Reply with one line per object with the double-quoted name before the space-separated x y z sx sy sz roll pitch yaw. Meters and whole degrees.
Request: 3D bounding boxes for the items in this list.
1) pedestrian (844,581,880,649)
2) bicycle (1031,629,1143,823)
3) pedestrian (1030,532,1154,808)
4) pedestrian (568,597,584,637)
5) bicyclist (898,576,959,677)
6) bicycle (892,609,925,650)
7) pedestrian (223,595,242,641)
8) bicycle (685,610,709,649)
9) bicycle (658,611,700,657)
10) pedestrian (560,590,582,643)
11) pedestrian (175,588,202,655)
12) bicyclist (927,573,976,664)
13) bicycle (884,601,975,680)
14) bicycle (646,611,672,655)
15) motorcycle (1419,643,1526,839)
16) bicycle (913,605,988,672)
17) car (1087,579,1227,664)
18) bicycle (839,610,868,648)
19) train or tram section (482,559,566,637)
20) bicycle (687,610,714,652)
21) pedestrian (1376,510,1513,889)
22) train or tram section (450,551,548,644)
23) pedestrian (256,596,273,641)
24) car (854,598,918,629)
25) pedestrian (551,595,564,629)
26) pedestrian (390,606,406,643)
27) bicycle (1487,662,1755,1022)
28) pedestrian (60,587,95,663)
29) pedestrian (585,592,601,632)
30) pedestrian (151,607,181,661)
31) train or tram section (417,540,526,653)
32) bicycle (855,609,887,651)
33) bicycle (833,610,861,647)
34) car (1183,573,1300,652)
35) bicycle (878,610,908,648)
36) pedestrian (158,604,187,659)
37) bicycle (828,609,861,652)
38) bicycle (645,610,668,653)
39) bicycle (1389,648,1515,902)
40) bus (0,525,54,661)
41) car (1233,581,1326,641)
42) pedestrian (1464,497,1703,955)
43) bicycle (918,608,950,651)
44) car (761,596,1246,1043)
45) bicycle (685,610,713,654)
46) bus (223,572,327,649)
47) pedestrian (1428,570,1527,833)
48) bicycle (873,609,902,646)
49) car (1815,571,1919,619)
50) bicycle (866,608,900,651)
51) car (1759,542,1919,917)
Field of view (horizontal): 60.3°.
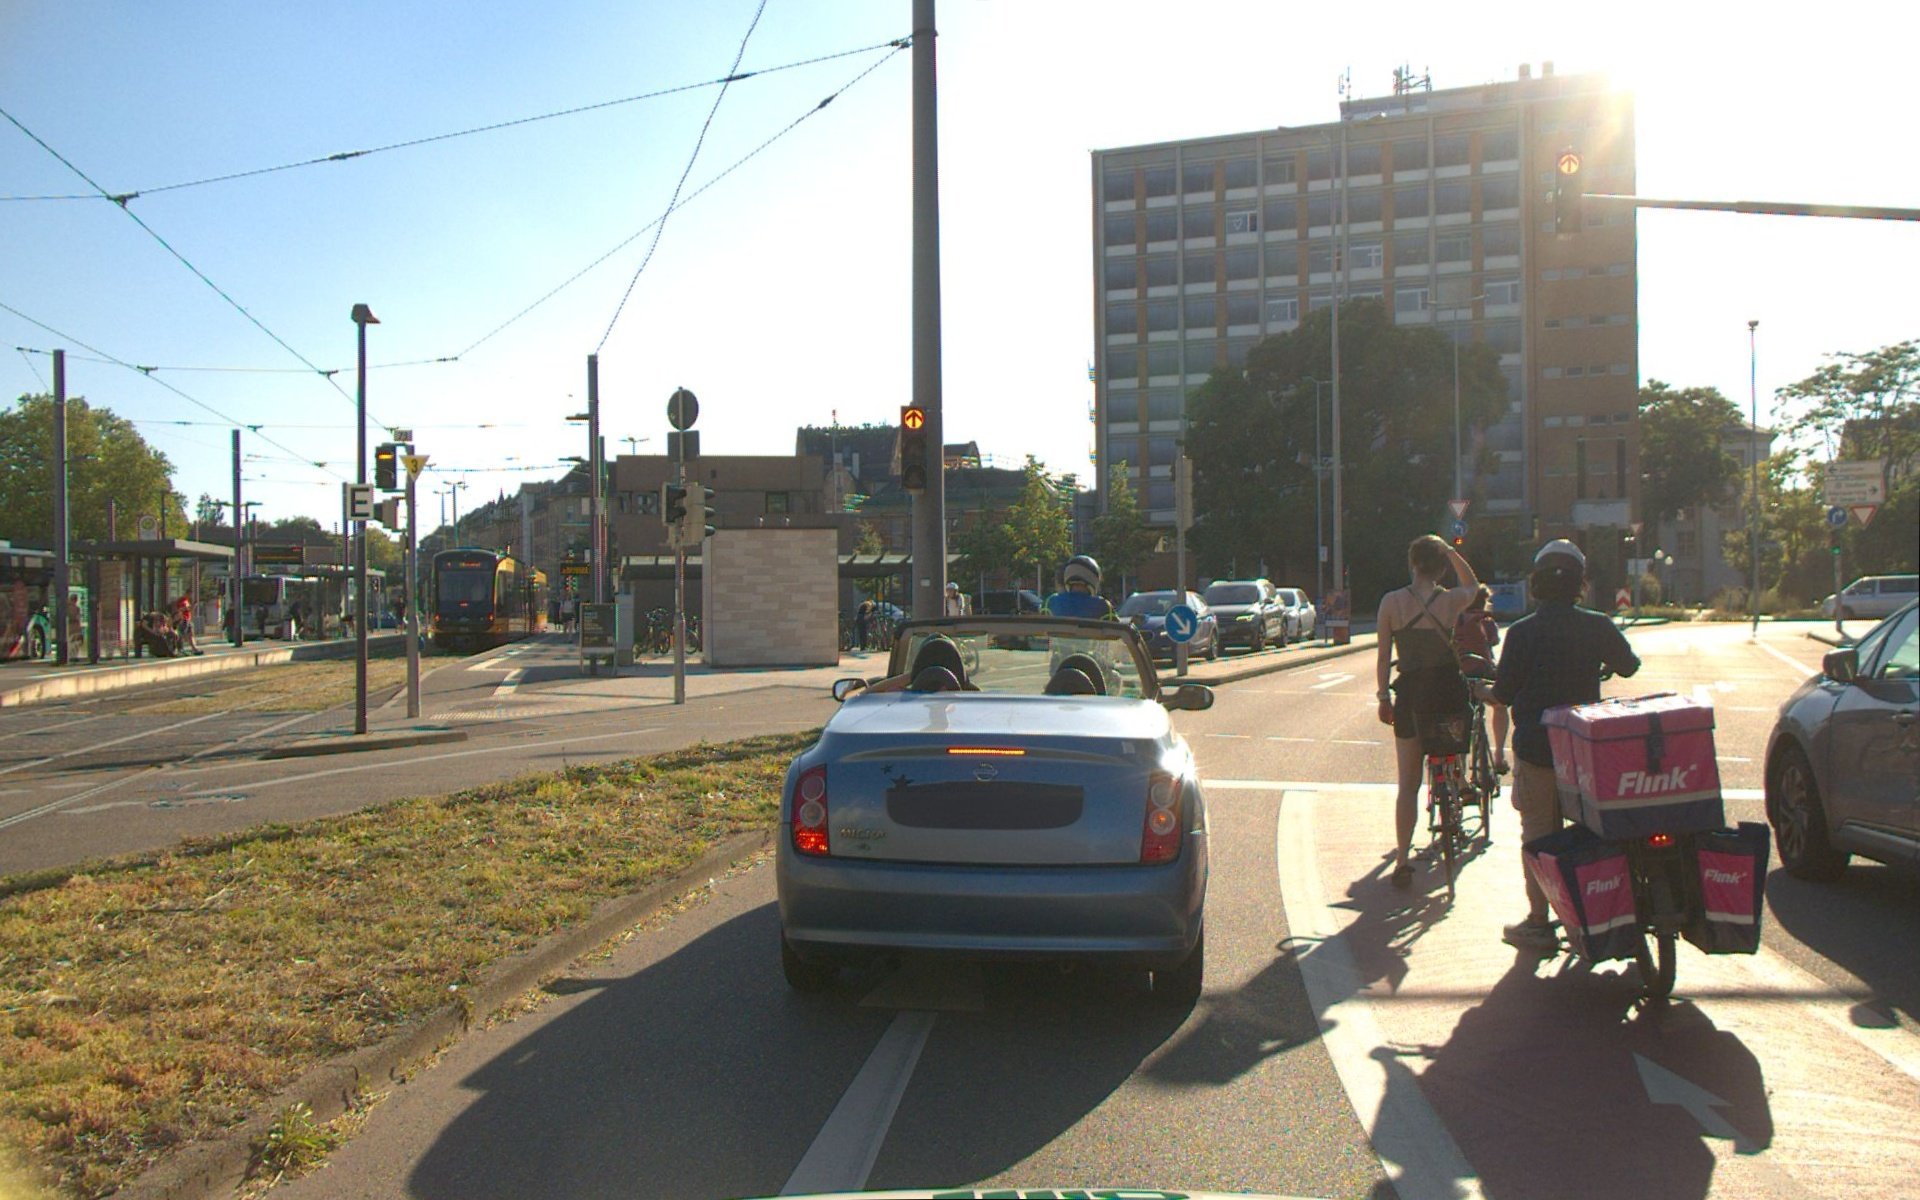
"pedestrian" -2.760 0.426 46.681 0.885 1.901 0.685 1 -1 -13
"bicycle" 0.953 0.831 11.898 0.595 1.212 2.416 1 0 9
"pedestrian" 0.969 0.486 11.966 0.815 1.901 0.921 1 -1 8
"pedestrian" -17.369 0.761 74.814 0.628 1.779 0.732 -1 0 -19
"bicyclist" -0.542 0.457 28.760 0.694 1.686 0.901 -3 -1 21
"bicycle" -1.495 0.832 47.542 0.596 1.134 1.890 1 0 -13
"pedestrian" -28.708 0.709 65.255 0.630 1.779 0.567 -1 0 -27
"bicycle" -7.978 0.895 50.198 0.596 1.134 1.890 1 0 -13
"bicycle" -7.183 0.858 42.337 0.594 1.134 1.898 1 0 5
"pedestrian" -13.224 0.556 56.205 0.628 1.779 0.569 -1 0 -19
"pedestrian" -20.706 0.583 44.406 0.561 1.779 0.637 -1 0 -17
"bicyclist" -0.155 0.349 31.474 0.694 1.686 0.743 -1 0 21
"bicycle" -0.504 0.677 28.829 0.660 1.272 2.457 -3 -1 21
"bicycle" -7.992 0.861 43.929 0.596 1.134 1.890 1 0 -13
"motorcycle" 3.420 0.874 11.112 0.600 1.117 2.361 1 0 16
"bicycle" -0.155 0.712 31.447 0.660 1.201 2.183 -1 0 21
"car" 4.073 0.426 33.683 1.702 1.601 3.921 1 0 25
"bicycle" -3.292 0.884 50.999 0.596 1.134 1.890 1 0 -13
"train or tram section" -22.044 -0.066 84.257 2.984 3.659 12.024 1 0 -10
"bicycle" -7.278 0.863 46.334 0.596 1.134 1.890 1 0 -13
"pedestrian" 2.560 0.500 8.810 0.645 1.901 0.873 1 -1 14
"train or tram section" -19.979 -0.081 72.362 2.957 3.659 12.169 1 0 -10
"pedestrian" -27.785 0.741 66.044 0.562 1.779 0.636 -1 0 -20
"car" -3.983 0.743 88.611 1.629 1.588 3.549 -1 0 -39
"pedestrian" -21.788 0.651 89.578 0.593 1.779 0.830 -1 0 -8
"pedestrian" -26.917 1.178 79.203 0.630 1.779 0.567 -1 0 -27
"bicycle" 2.729 0.901 7.073 0.542 1.192 2.374 1 0 9
"pedestrian" -21.068 0.591 39.484 0.527 1.779 0.559 -1 0 -6
"pedestrian" -16.745 0.537 75.518 0.628 1.779 0.732 -1 0 -19
"pedestrian" -20.094 0.858 41.867 0.606 1.364 0.438 -1 0 -18
"train or tram section" -17.645 -0.103 60.407 2.831 3.659 12.161 1 0 -12
"bicycle" -2.558 0.845 47.138 0.596 1.134 1.890 1 0 -13
"bicycle" -3.623 0.900 52.961 0.596 1.134 1.890 1 0 -13
"car" 6.836 0.268 39.783 1.726 1.736 4.529 -2 -1 23
"bicycle" -2.087 0.887 51.221 0.596 1.134 1.890 1 0 -13
"pedestrian" -20.251 0.804 42.548 0.561 1.369 0.637 -1 0 -17
"bicycle" -3.161 0.825 45.057 0.596 1.134 1.890 1 0 -13
"bicycle" -8.423 0.862 45.848 0.596 1.134 1.891 1 0 -11
"bicycle" 2.638 0.875 8.998 0.552 1.171 1.951 1 0 14
"bus" -23.561 -0.177 37.170 2.606 3.190 9.619 1 0 -10
"car" 9.013 0.282 46.457 1.661 1.588 3.977 -1 0 25
"pedestrian" 2.763 0.523 7.426 0.789 1.901 0.957 1 -1 8
"bicycle" -0.730 0.809 45.537 0.595 1.134 1.892 1 0 -10
"car" 0.355 0.746 7.681 1.625 1.466 4.157 1 0 6
"bicycle" -6.988 0.846 44.275 0.596 1.134 1.890 1 0 -13
"bus" -32.734 0.470 79.554 2.675 3.331 13.413 1 0 -14
"pedestrian" 3.382 0.631 10.850 0.575 1.626 1.025 1 -1 16
"bicycle" -2.337 0.868 53.189 0.596 1.134 1.890 1 0 -13
"car" 39.699 -0.206 71.644 4.604 1.979 1.911 -1 0 31
"bicycle" -2.110 0.784 45.214 0.596 1.134 1.890 1 0 -13
"car" 5.286 0.607 7.399 1.792 1.719 4.372 1 0 8
